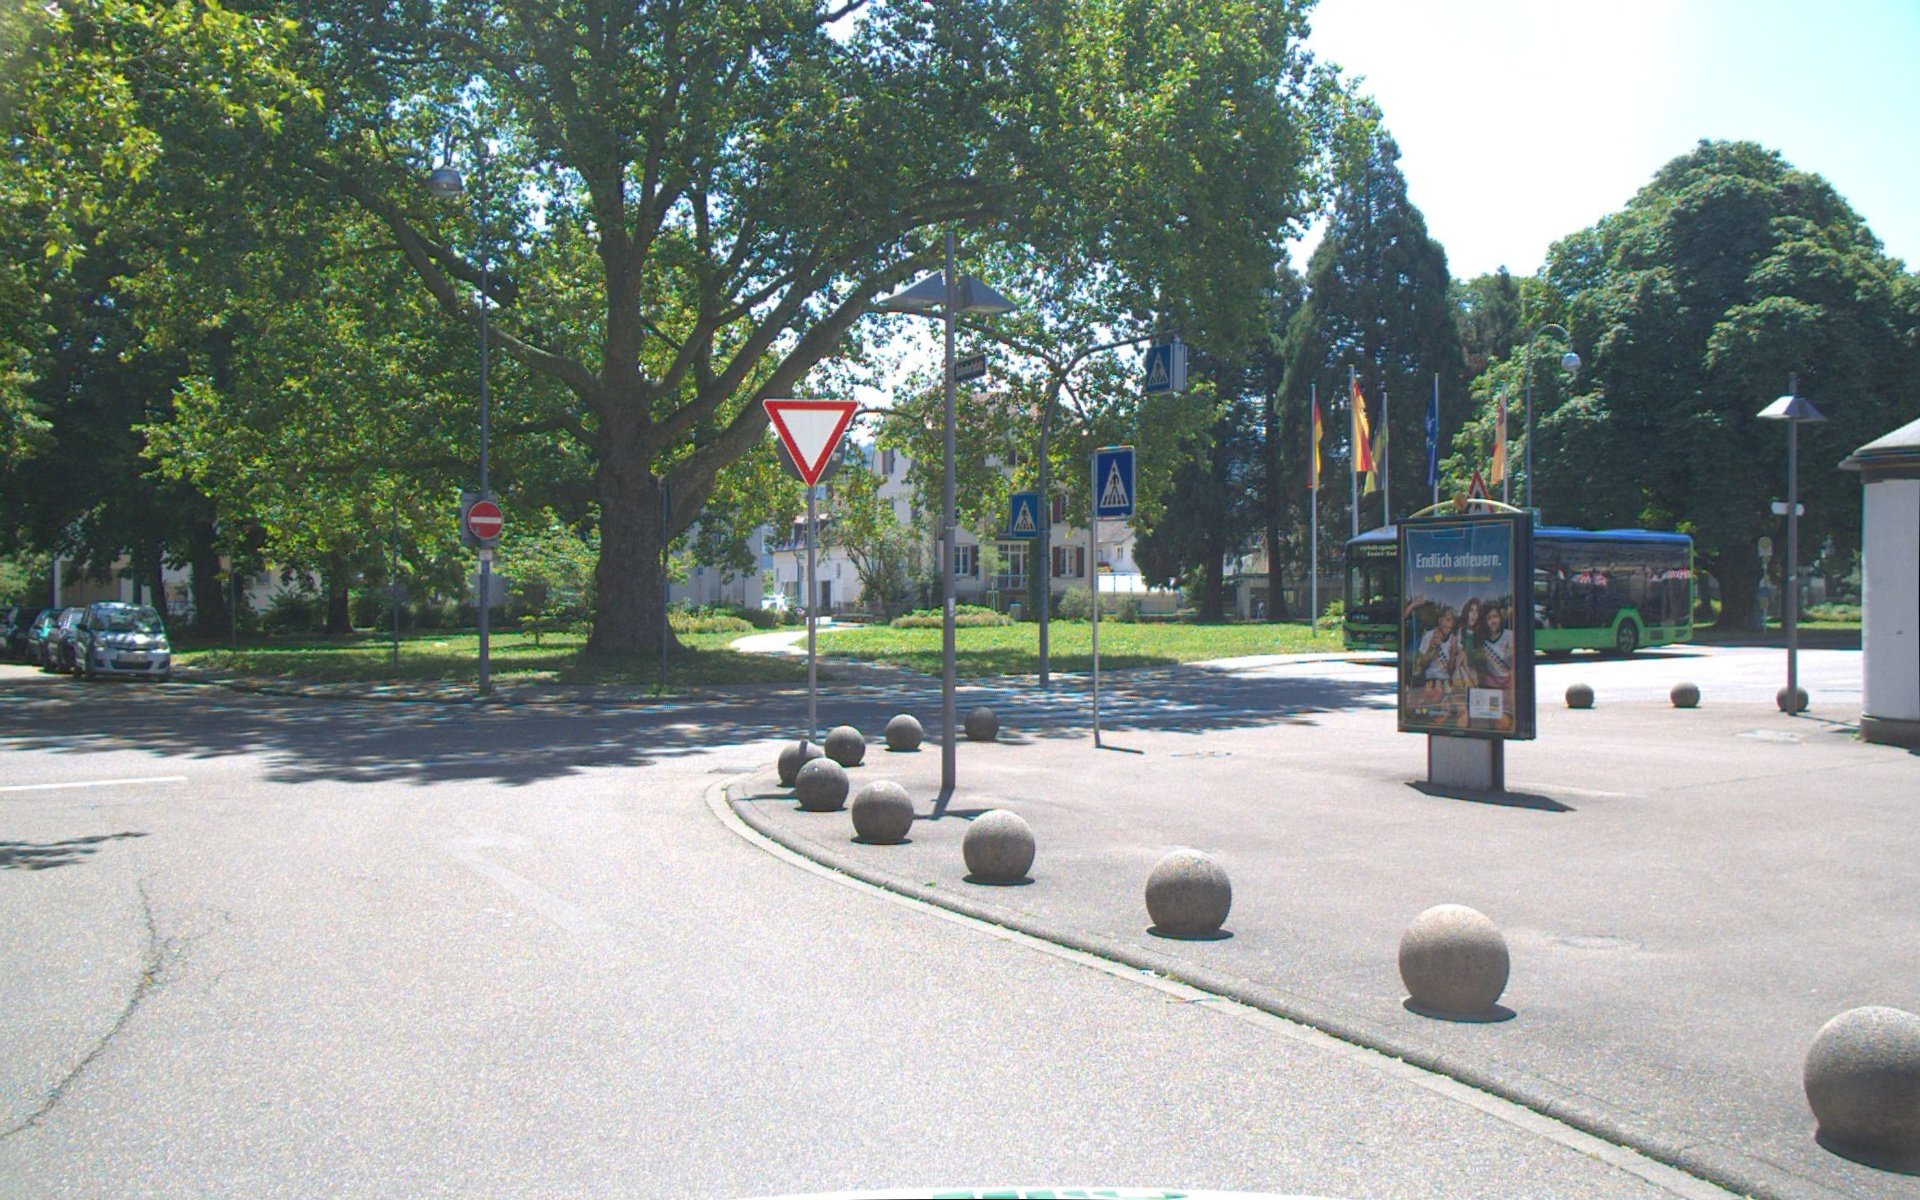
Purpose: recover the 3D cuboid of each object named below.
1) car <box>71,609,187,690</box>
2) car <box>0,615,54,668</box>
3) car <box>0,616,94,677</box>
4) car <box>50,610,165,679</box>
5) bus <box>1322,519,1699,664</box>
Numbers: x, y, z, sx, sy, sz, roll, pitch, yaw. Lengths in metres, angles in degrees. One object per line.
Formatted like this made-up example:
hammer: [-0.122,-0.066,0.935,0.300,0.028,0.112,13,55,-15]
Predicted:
car: [-16.709,0.956,33.177,1.582,1.523,3.442,1,-1,-35]
car: [-28.701,1.233,50.157,1.740,1.519,3.868,0,0,-36]
car: [-23.790,1.158,42.932,1.736,1.464,4.710,-1,0,-35]
car: [-19.497,0.970,37.735,1.736,1.464,4.447,1,-1,-35]
bus: [14.541,-0.271,42.815,12.289,3.340,2.782,-1,0,-37]
